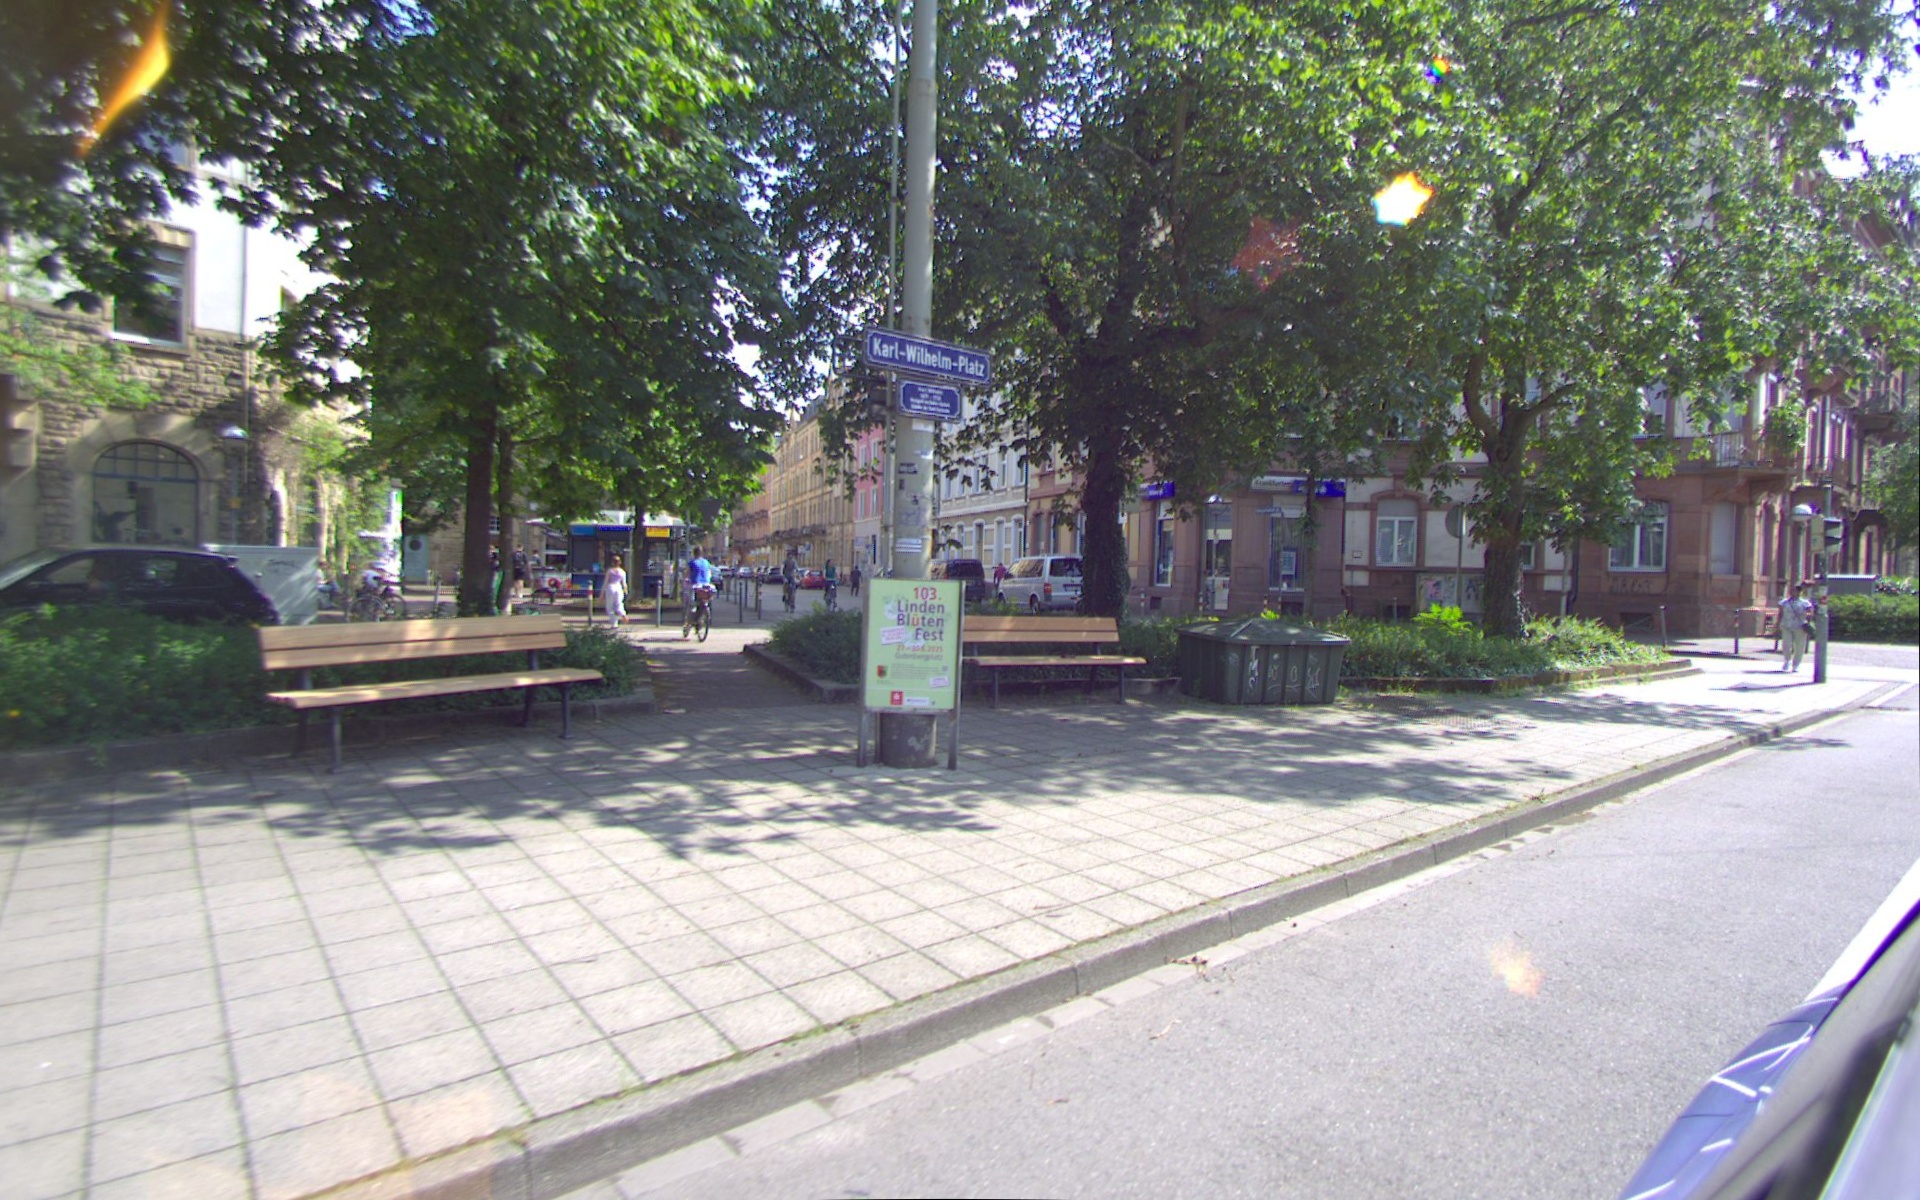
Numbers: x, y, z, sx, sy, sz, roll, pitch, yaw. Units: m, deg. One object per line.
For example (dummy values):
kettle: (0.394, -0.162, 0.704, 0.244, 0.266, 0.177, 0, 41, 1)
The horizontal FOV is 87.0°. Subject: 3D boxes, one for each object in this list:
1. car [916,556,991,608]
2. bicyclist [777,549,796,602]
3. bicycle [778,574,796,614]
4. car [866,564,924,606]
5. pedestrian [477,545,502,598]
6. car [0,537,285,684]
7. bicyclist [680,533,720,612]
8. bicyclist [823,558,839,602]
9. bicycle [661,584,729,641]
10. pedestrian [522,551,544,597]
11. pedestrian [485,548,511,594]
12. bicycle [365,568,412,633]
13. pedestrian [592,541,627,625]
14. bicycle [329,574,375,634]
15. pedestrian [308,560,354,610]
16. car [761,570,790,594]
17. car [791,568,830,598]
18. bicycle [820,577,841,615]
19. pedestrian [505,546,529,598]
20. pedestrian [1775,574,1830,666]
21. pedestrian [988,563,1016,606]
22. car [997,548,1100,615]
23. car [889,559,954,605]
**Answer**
car: (-0.339, -0.805, 42.673, 1.958, 2.038, 4.328, 1, 2, -17)
bicyclist: (-5.417, -0.757, 31.629, 0.496, 1.619, 0.702, 3, 0, -11)
bicycle: (-5.417, -0.201, 31.638, 0.512, 1.209, 1.856, 0, 0, -10)
car: (-3.370, -0.796, 51.646, 1.958, 2.038, 4.327, 1, 2, -17)
pedestrian: (-15.978, -0.976, 34.384, 0.668, 1.761, 0.848, 1, 1, -18)
car: (-10.334, 0.068, 11.454, 1.837, 1.519, 4.132, 2, 2, 35)
bicyclist: (-4.769, -0.504, 18.555, 0.474, 1.422, 0.633, 0, 0, -42)
bicyclist: (-4.066, -0.631, 31.866, 0.460, 1.389, 0.744, 0, 0, -10)
bicycle: (-4.939, 0.217, 18.785, 0.515, 1.018, 1.682, 0, 0, -41)
pedestrian: (-16.613, -1.021, 39.404, 0.668, 1.761, 0.848, 1, 1, -18)
pedestrian: (-17.819, -1.121, 39.086, 0.795, 1.761, 0.848, 1, 1, -18)
bicycle: (-11.038, -0.013, 19.520, 0.587, 1.156, 1.978, 1, 2, -35)
pedestrian: (-7.313, -0.352, 21.111, 0.524, 1.721, 0.560, 0, 0, -42)
bicycle: (-11.474, 0.055, 19.069, 0.587, 1.044, 1.978, 1, 2, -35)
pedestrian: (-15.766, -0.378, 25.373, 0.828, 1.214, 0.685, 1, 1, -19)
car: (-16.876, -1.652, 92.318, 1.958, 2.038, 4.327, 1, 2, -19)
car: (-11.039, -1.309, 74.440, 1.958, 2.038, 5.611, 1, 2, -17)
bicycle: (-4.077, -0.130, 31.701, 0.512, 1.129, 1.668, 0, 0, -12)
pedestrian: (-15.345, -0.964, 35.085, 0.668, 1.761, 0.848, 1, 1, -18)
pedestrian: (15.752, 0.359, 18.927, 0.525, 1.675, 0.706, 0, 0, -40)
pedestrian: (1.717, -0.649, 41.357, 0.909, 1.729, 0.763, 1, 1, -13)
car: (2.784, -0.640, 32.849, 1.799, 2.011, 4.328, 0, 2, -17)
car: (-1.872, -0.864, 47.334, 1.958, 2.038, 4.327, 1, 2, -17)
